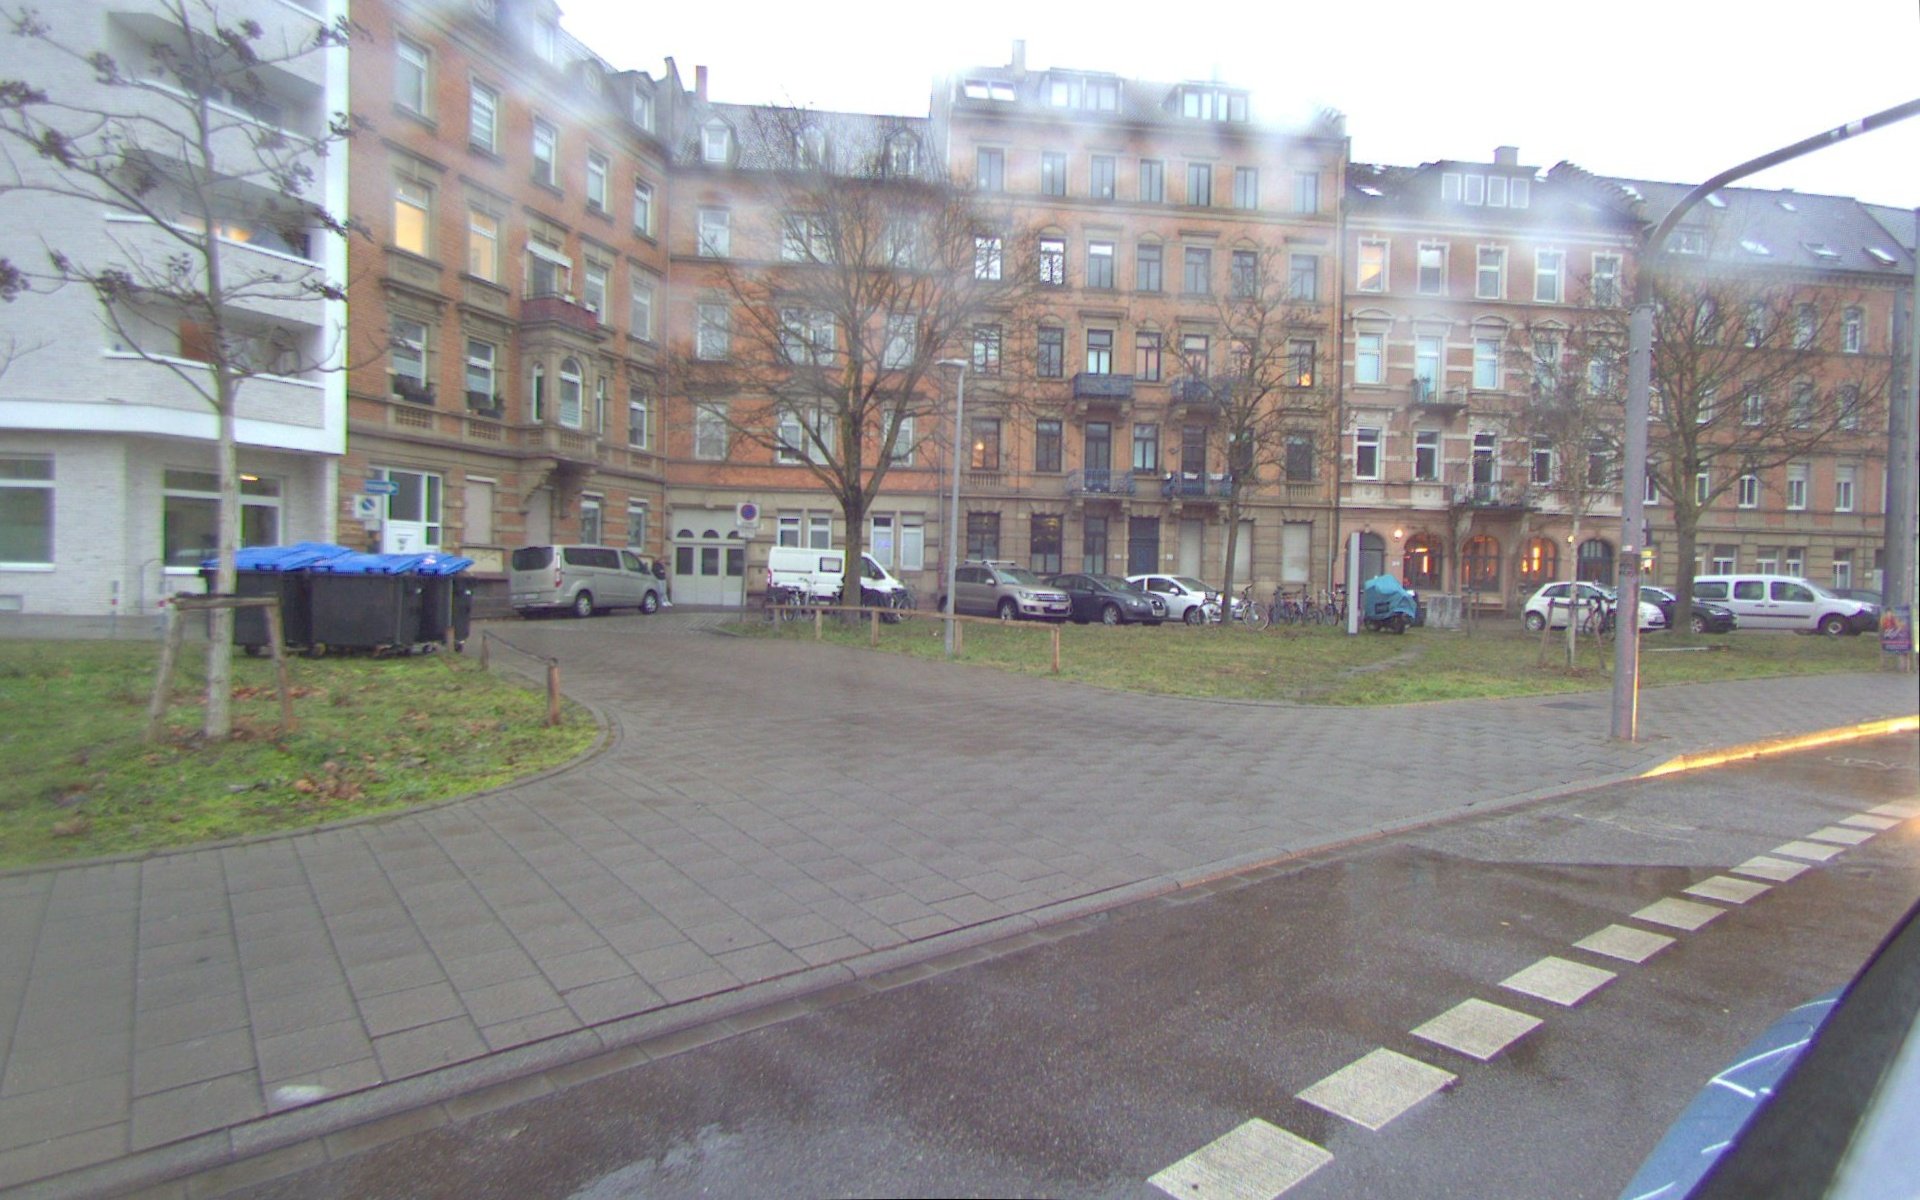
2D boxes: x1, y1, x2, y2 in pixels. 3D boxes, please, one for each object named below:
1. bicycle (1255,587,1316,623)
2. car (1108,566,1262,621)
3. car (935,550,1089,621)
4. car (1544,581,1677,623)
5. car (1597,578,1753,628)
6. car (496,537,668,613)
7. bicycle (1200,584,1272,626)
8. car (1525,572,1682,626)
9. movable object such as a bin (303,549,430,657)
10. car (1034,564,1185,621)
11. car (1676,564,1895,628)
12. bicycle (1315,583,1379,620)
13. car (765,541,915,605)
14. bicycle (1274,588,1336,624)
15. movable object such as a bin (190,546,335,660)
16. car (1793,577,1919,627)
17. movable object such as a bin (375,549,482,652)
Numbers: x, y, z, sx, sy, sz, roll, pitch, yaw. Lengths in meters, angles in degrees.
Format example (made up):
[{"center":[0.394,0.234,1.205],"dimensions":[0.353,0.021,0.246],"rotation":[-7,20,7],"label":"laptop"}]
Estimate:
[{"center":[9.355,0.139,29.176],"dimensions":[0.613,0.978,2.175],"rotation":[3,-1,-13],"label":"bicycle"},{"center":[6.042,-0.211,27.499],"dimensions":[1.669,1.353,3.852],"rotation":[0,1,-41],"label":"car"},{"center":[1.278,-0.442,26.410],"dimensions":[1.908,1.656,4.000],"rotation":[-1,3,-37],"label":"car"},{"center":[24.252,0.091,37.787],"dimensions":[3.967,1.520,1.740],"rotation":[1,-1,-9],"label":"car"},{"center":[20.925,0.063,29.687],"dimensions":[1.634,1.368,3.430],"rotation":[1,0,-39],"label":"car"},{"center":[-10.522,-0.603,28.614],"dimensions":[1.976,1.943,4.715],"rotation":[-1,-1,21],"label":"car"},{"center":[6.637,0.107,24.418],"dimensions":[1.628,0.948,0.512],"rotation":[2,1,15],"label":"bicycle"},{"center":[18.369,-0.025,29.014],"dimensions":[1.583,1.461,3.467],"rotation":[1,0,-34],"label":"car"},{"center":[-8.295,0.018,14.192],"dimensions":[1.200,1.433,1.018],"rotation":[1,2,-3],"label":"movable object such as a bin"},{"center":[3.877,-0.188,26.634],"dimensions":[1.649,1.372,3.737],"rotation":[2,0,-42],"label":"car"},{"center":[24.081,-0.183,29.692],"dimensions":[1.745,1.611,4.663],"rotation":[0,3,-37],"label":"car"},{"center":[11.216,0.019,29.396],"dimensions":[0.613,0.978,2.176],"rotation":[1,2,-13],"label":"bicycle"},{"center":[-4.089,-0.924,34.470],"dimensions":[4.885,2.038,2.004],"rotation":[1,2,-8],"label":"car"},{"center":[9.967,0.167,29.360],"dimensions":[0.613,0.978,2.175],"rotation":[3,-1,-13],"label":"bicycle"},{"center":[-9.652,0.028,14.052],"dimensions":[1.303,1.514,1.031],"rotation":[1,1,-1],"label":"movable object such as a bin"},{"center":[27.105,0.100,29.454],"dimensions":[1.737,1.250,4.066],"rotation":[2,3,-35],"label":"car"},{"center":[-8.034,0.016,15.343],"dimensions":[1.022,1.509,1.035],"rotation":[0,-1,6],"label":"movable object such as a bin"}]
